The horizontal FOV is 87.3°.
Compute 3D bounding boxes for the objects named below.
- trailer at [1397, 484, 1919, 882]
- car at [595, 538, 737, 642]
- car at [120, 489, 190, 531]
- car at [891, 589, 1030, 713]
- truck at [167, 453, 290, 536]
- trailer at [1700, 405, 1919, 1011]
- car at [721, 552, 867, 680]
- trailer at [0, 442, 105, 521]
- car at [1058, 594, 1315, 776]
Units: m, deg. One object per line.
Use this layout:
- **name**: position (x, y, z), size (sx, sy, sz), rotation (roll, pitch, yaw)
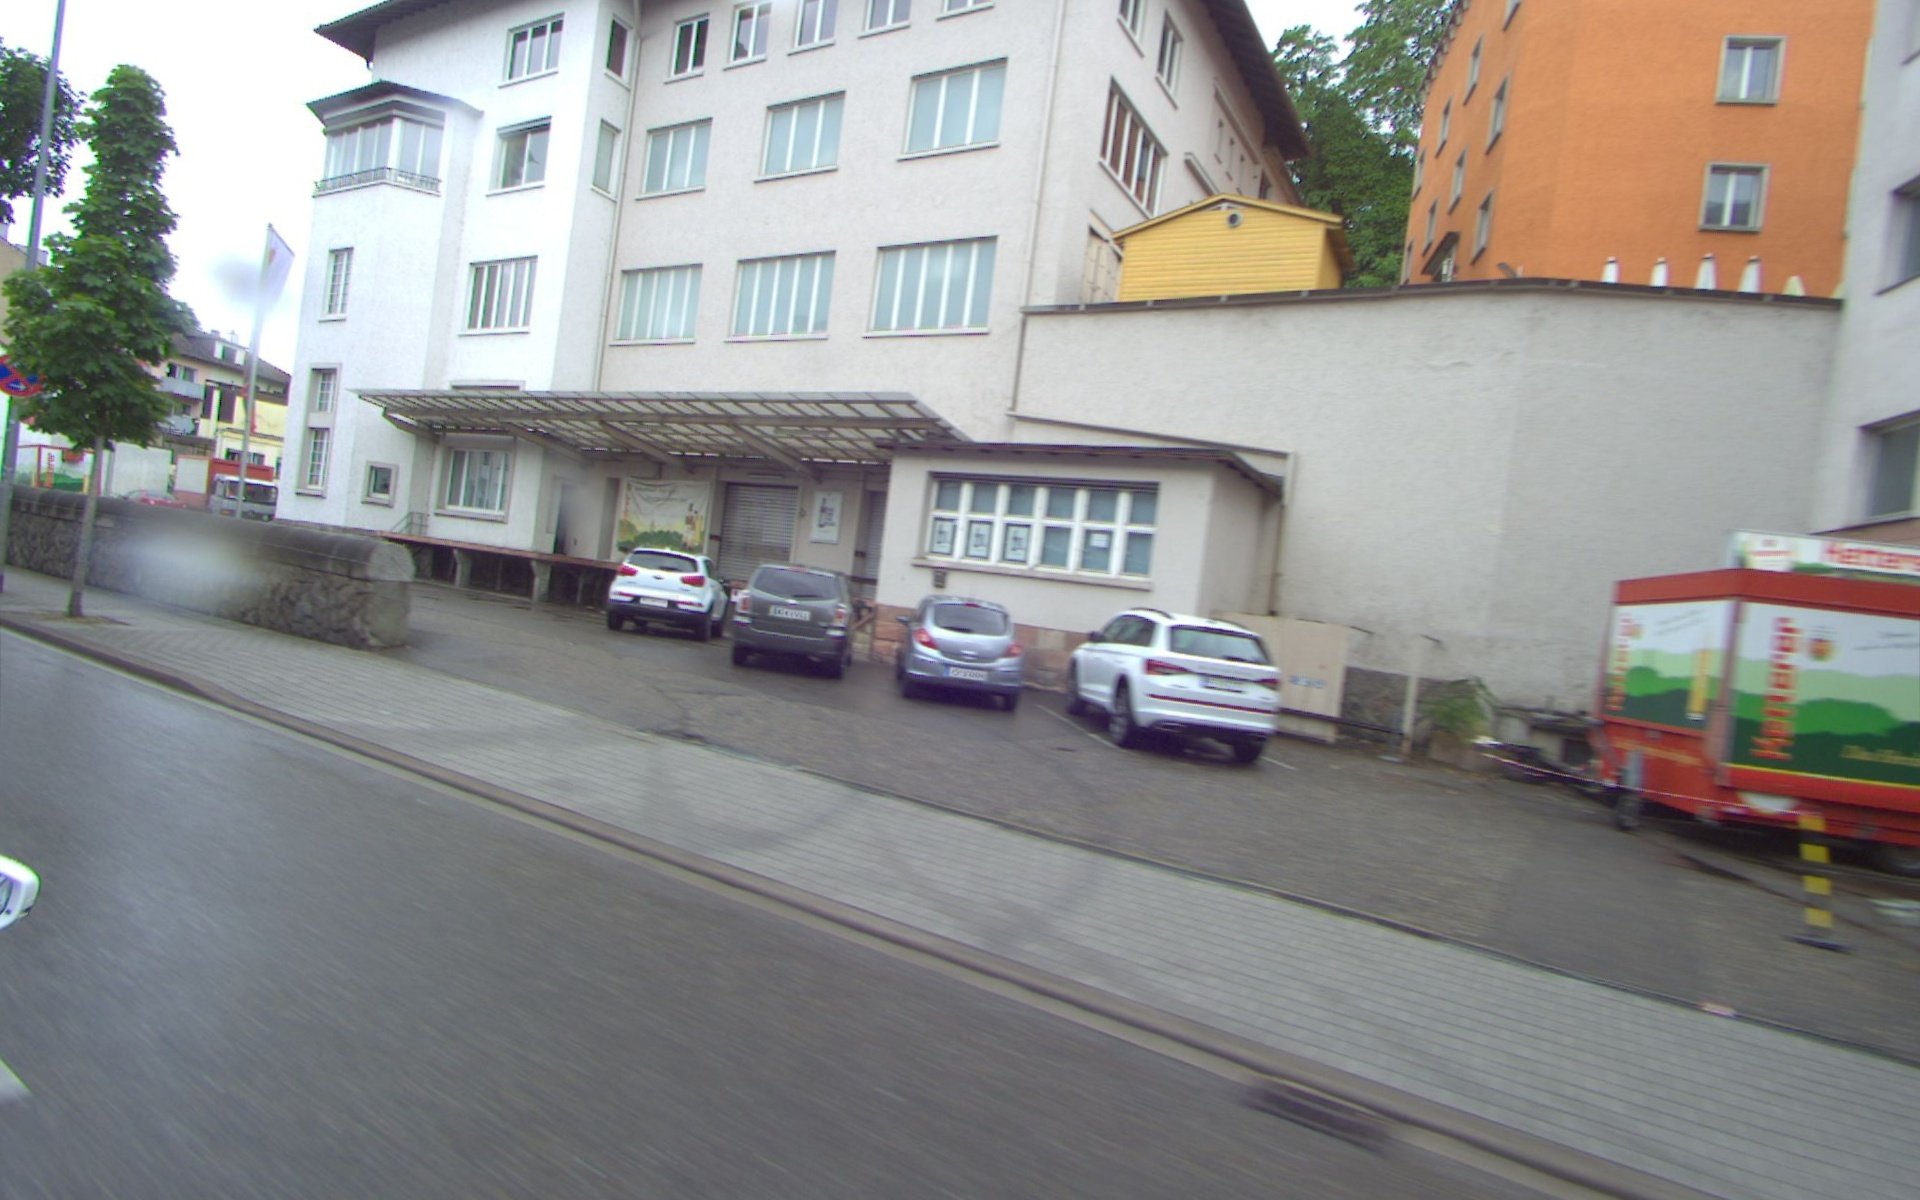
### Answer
- **trailer**: position (8.476, 0.906, 10.995), size (5.956, 3.349, 2.751), rotation (7, 1, 10)
- **car**: position (-5.591, -0.155, 19.632), size (1.894, 1.586, 3.977), rotation (8, -1, -7)
- **car**: position (-35.213, -3.937, 43.998), size (3.214, 1.475, 1.589), rotation (7, 2, 37)
- **car**: position (-0.117, 0.669, 15.439), size (1.615, 1.419, 3.833), rotation (5, 2, -6)
- **truck**: position (-33.921, -4.929, 46.565), size (6.823, 3.258, 2.629), rotation (7, 2, 37)
- **trailer**: position (7.925, 0.836, 5.307), size (5.607, 3.217, 2.636), rotation (7, 2, 6)
- **car**: position (-2.556, 0.175, 16.406), size (1.740, 1.603, 3.995), rotation (8, 2, -3)
- **trailer**: position (-37.898, -4.961, 41.923), size (5.305, 2.753, 2.125), rotation (8, 3, 35)
- **car**: position (2.735, 0.946, 13.288), size (1.835, 1.670, 4.267), rotation (8, 2, -6)
